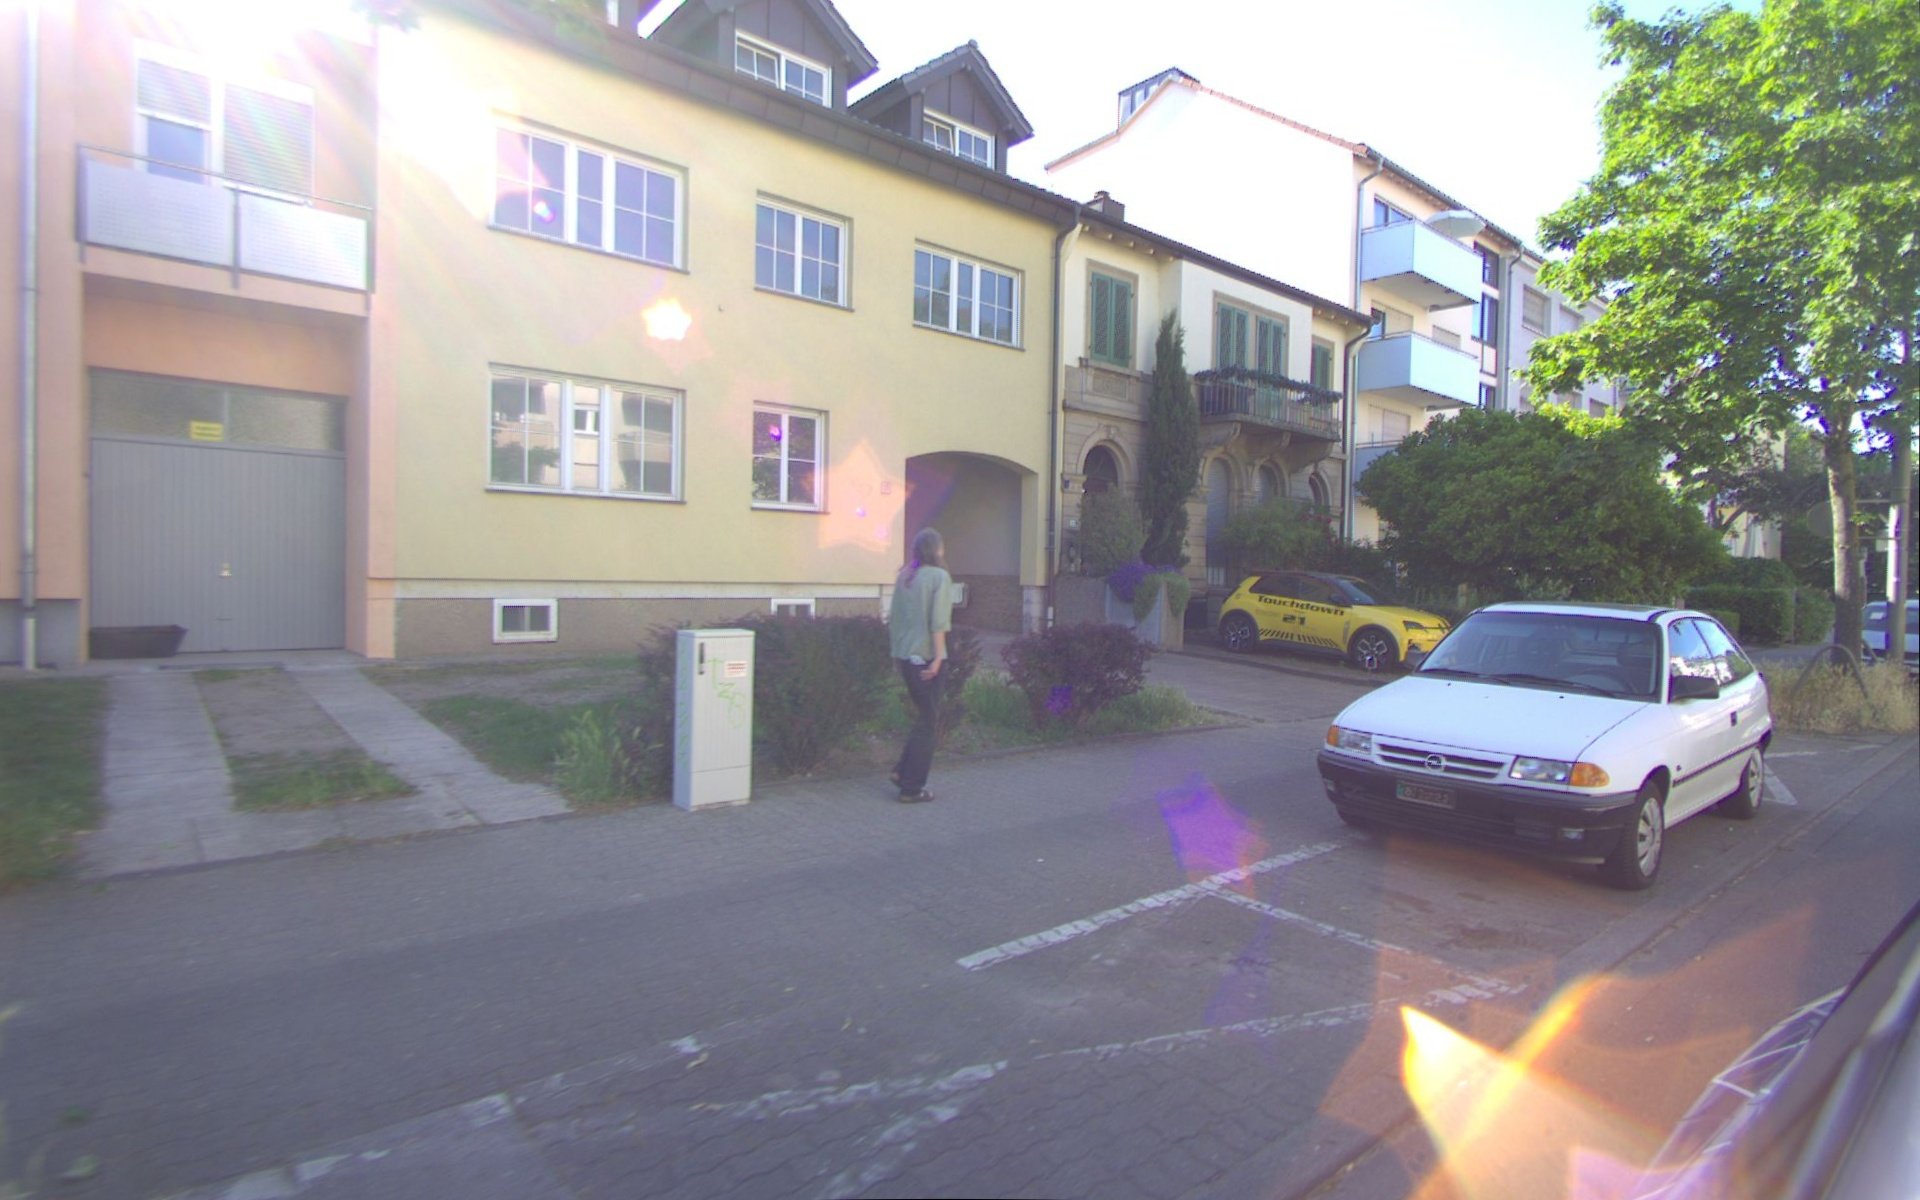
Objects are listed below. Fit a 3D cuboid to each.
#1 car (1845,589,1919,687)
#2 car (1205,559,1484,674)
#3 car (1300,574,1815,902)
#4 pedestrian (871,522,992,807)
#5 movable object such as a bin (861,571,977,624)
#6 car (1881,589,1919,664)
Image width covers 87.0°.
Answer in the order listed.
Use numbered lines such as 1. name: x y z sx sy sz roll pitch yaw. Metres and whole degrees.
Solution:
1. car: 16.324 0.598 17.124 3.799 1.474 1.569 0 3 -43
2. car: 6.380 0.182 17.153 1.799 1.458 3.998 0 5 -40
3. car: 4.005 0.618 6.511 3.900 1.420 1.653 0 3 -41
4. pedestrian: -0.186 0.369 6.377 0.485 1.698 0.539 0 2 -40
5. movable object such as a bin: -0.813 -0.069 19.980 1.464 0.905 1.779 0 4 -43
6. car: 21.338 0.562 21.749 4.122 1.500 1.743 0 3 -41
